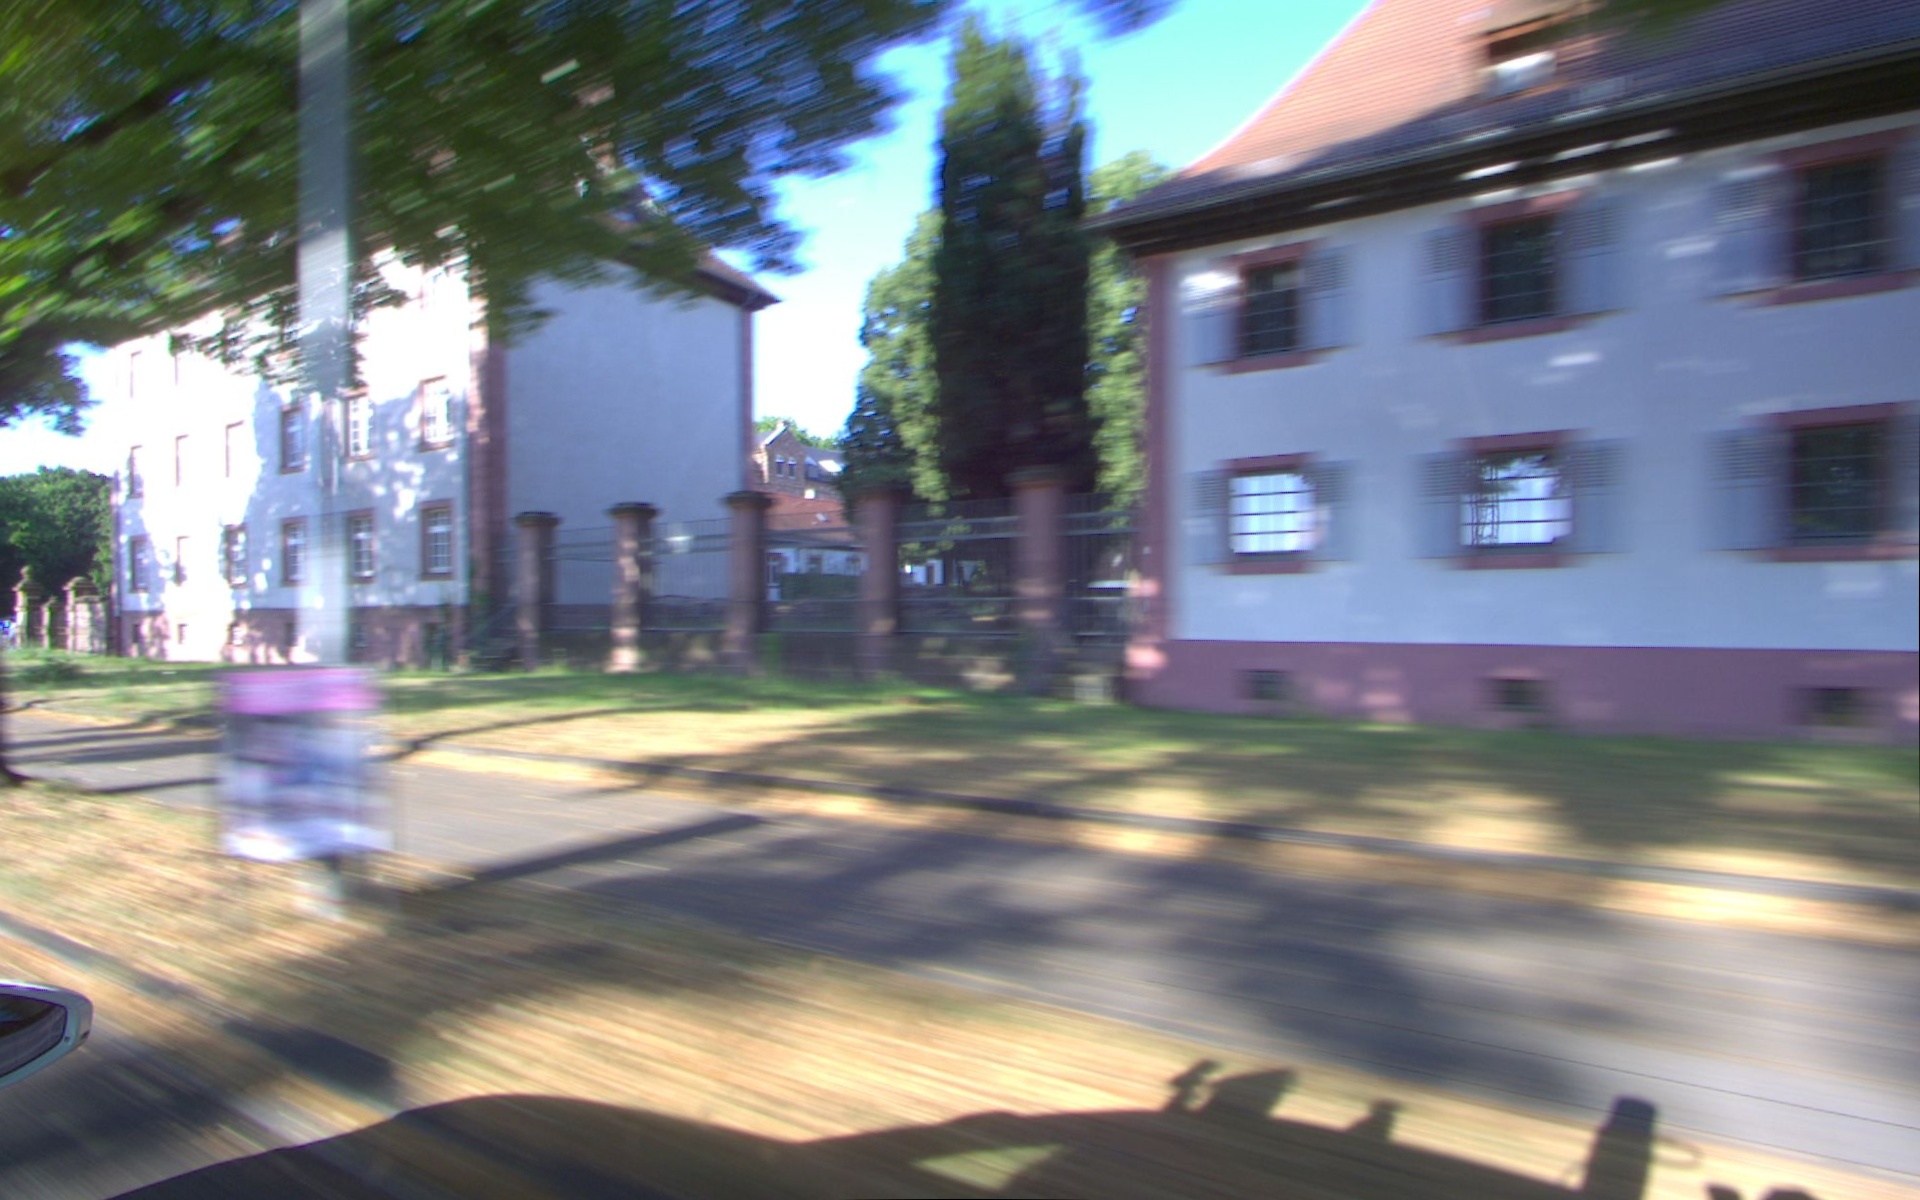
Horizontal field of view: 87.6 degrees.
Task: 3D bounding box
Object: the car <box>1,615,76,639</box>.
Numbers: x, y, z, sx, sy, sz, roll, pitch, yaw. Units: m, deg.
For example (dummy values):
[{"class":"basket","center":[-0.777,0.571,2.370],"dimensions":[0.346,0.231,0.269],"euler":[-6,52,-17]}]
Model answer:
[{"class":"car","center":[-71.683,2.131,77.909],"dimensions":[1.748,1.749,3.980],"euler":[-1,-2,33]}]
